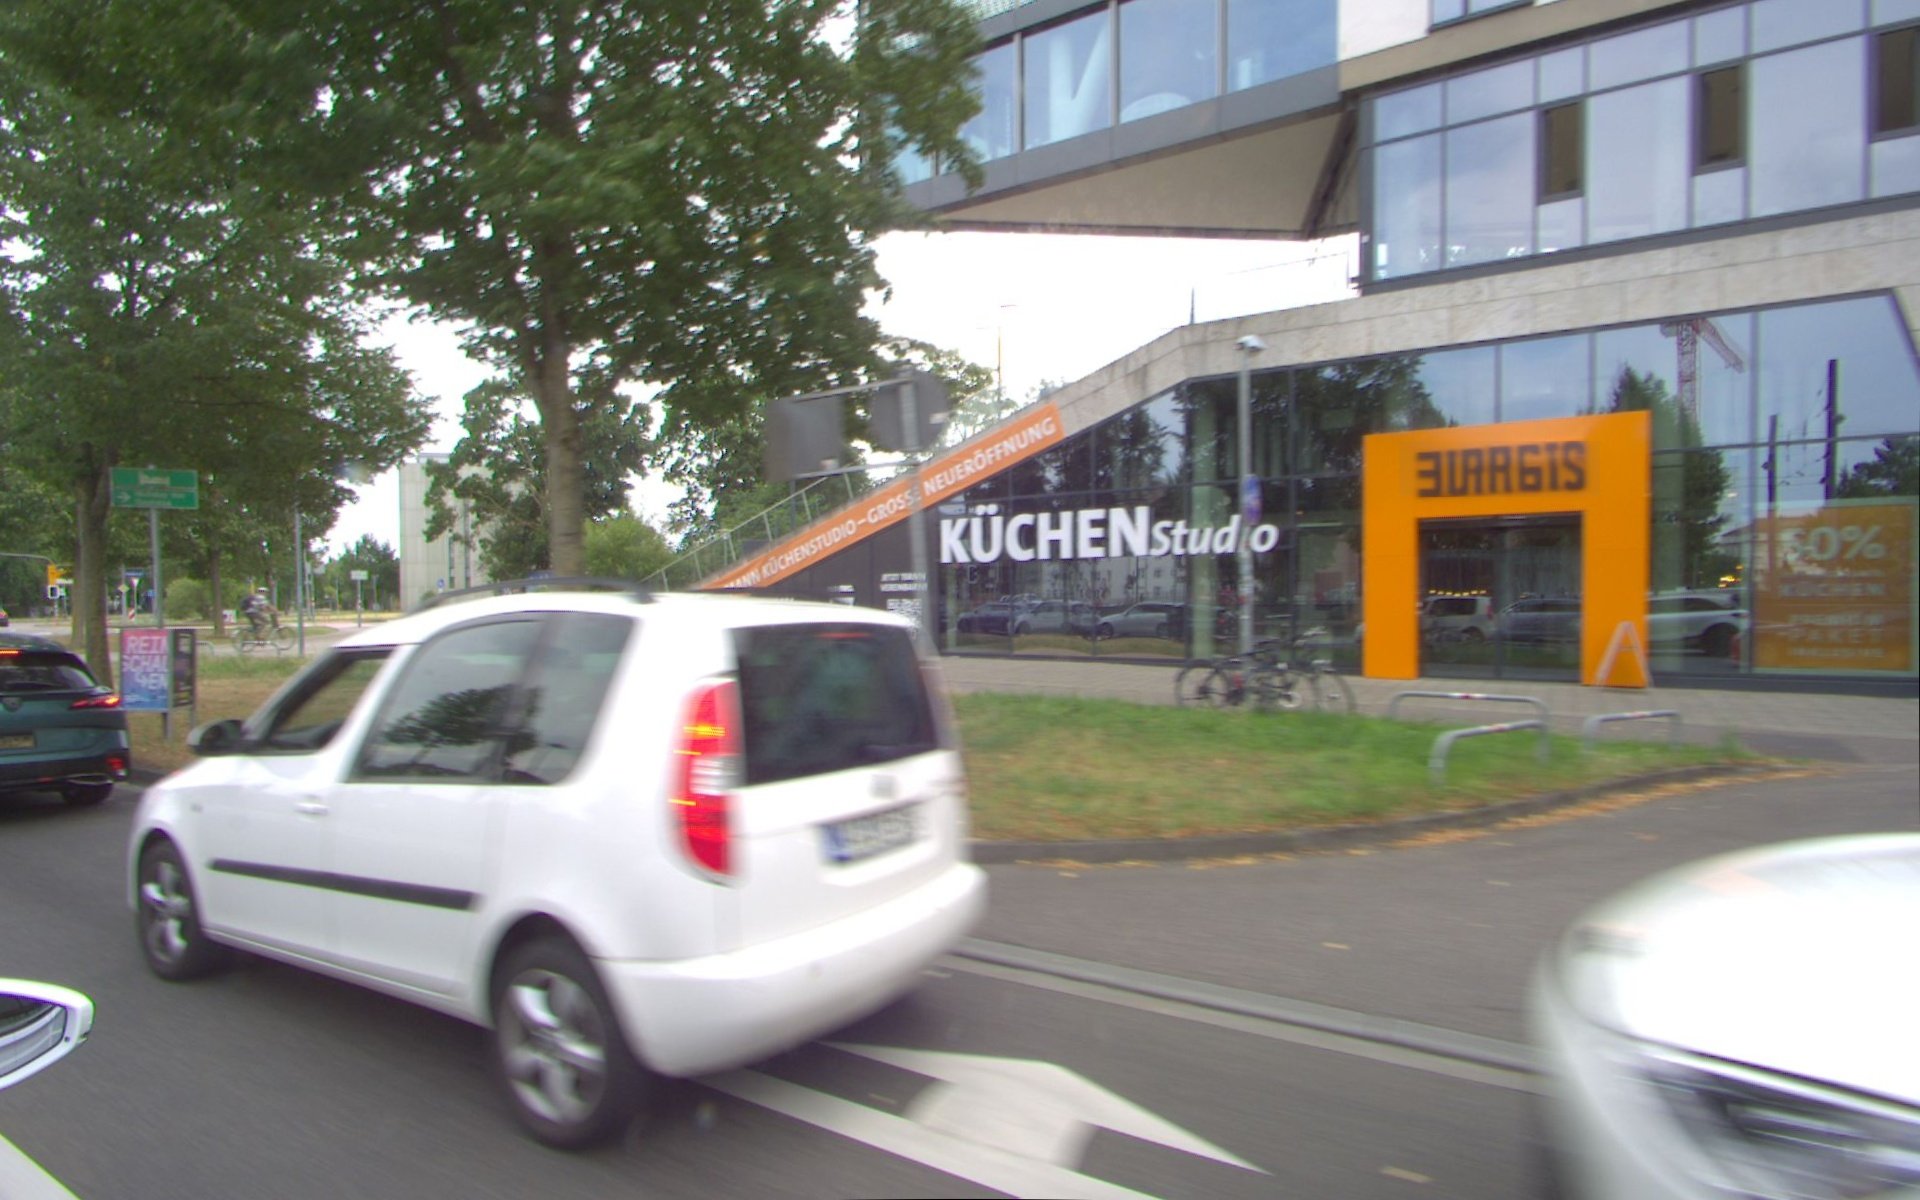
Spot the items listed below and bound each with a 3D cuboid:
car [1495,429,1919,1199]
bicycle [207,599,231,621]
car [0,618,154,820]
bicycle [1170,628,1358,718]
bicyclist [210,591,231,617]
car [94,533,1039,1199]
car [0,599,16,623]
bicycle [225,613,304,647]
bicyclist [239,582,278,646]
[{"bbox_3d":[2.836,0.680,1.019,3.964,1.678,1.776,0,-2,32],"label":"car"},{"bbox_3d":[-54.404,0.746,73.483,1.978,1.524,0.704,-1,-2,31],"label":"bicycle"},{"bbox_3d":[-8.801,0.889,8.416,4.246,1.450,1.785,0,0,30],"label":"car"},{"bbox_3d":[3.615,0.841,11.980,2.075,0.968,0.629,0,0,28],"label":"bicycle"},{"bbox_3d":[-54.190,0.296,73.368,1.157,1.812,0.865,0,-2,31],"label":"bicyclist"},{"bbox_3d":[-1.824,0.685,4.267,3.966,1.678,1.775,0,0,33],"label":"car"},{"bbox_3d":[-67.725,0.745,70.288,4.353,1.657,1.774,0,0,42],"label":"car"},{"bbox_3d":[-21.156,0.899,30.499,0.556,0.997,1.930,0,0,31],"label":"bicycle"},{"bbox_3d":[-21.228,0.429,30.306,0.723,1.911,0.727,1,1,31],"label":"bicyclist"}]
